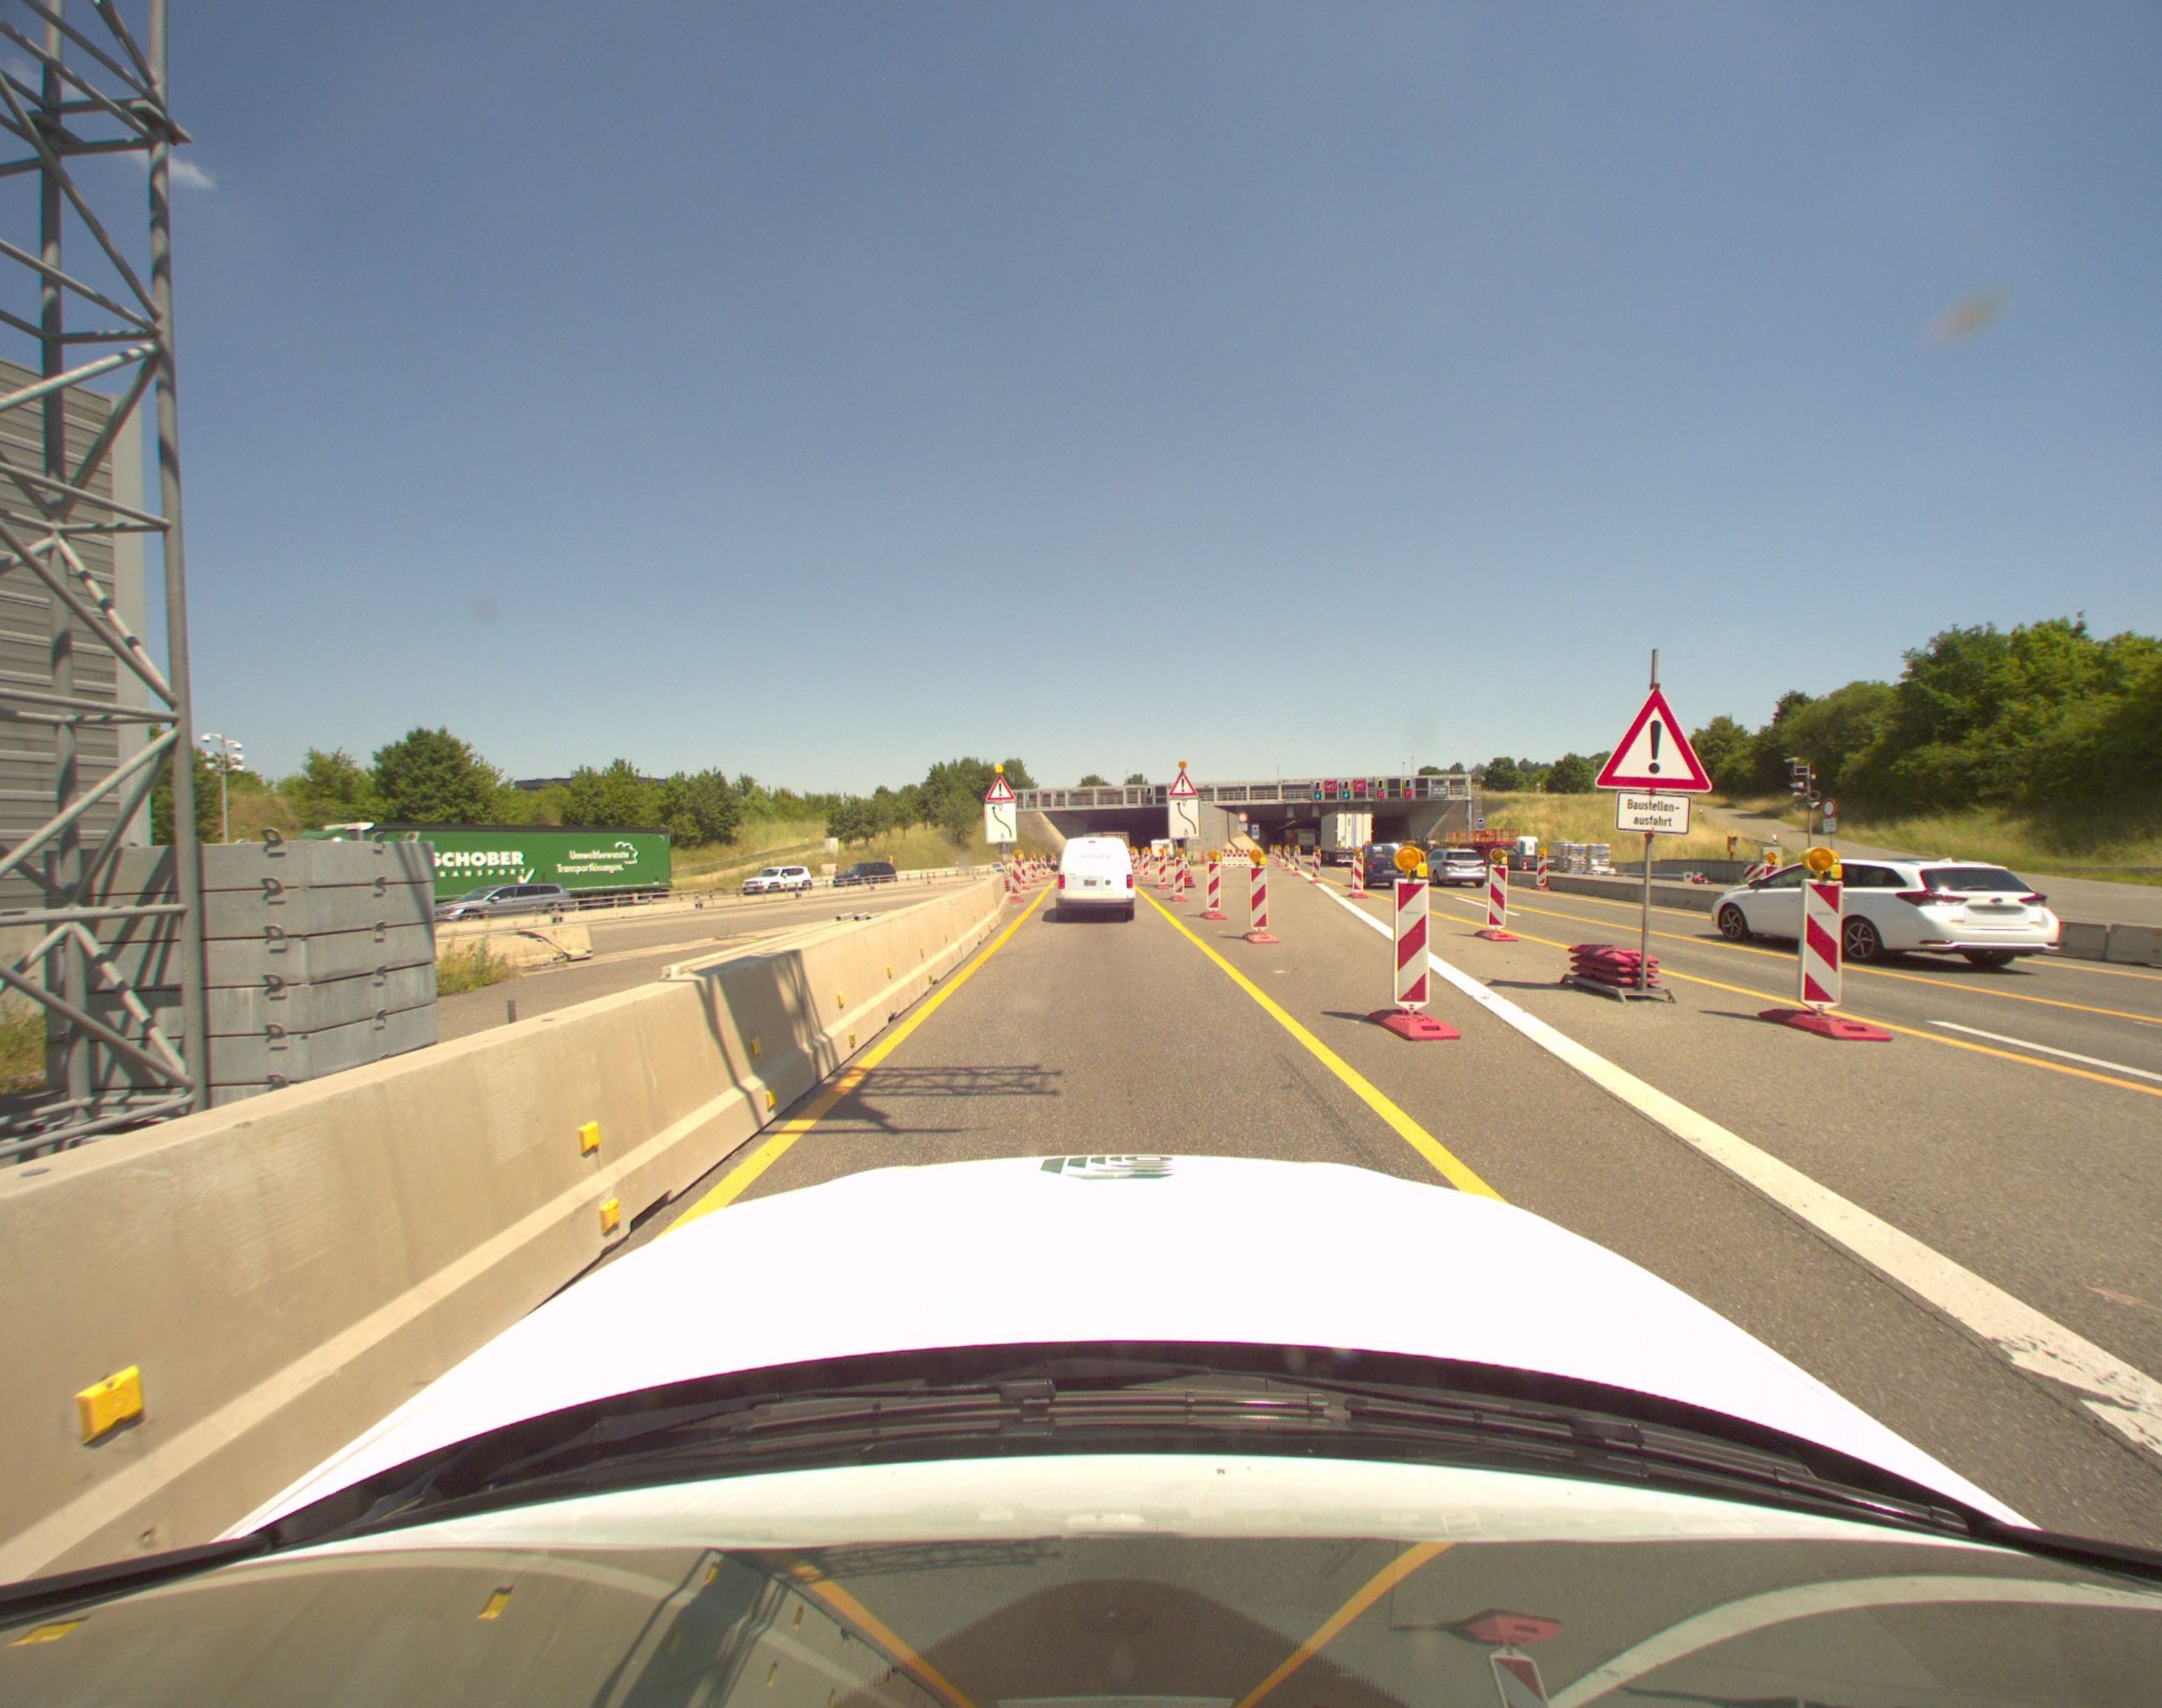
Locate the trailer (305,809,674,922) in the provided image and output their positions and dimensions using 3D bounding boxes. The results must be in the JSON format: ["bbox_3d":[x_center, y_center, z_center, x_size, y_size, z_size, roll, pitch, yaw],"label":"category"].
[{"bbox_3d":[-26.143,0.424,37.772,3.514,4.270,13.985,0,0,23],"label":"trailer"}]

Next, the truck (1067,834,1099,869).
[{"bbox_3d":[0.296,-0.323,101.029,2.411,4.270,4.862,-2,0,19],"label":"truck"}]

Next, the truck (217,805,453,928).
[{"bbox_3d":[-28.742,0.441,31.707,3.515,4.270,5.811,0,0,23],"label":"truck"}]

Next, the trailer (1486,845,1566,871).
[{"bbox_3d":[30.114,0.242,55.411,2.581,1.569,6.247,-2,0,7],"label":"trailer"}]

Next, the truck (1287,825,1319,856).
[{"bbox_3d":[34.823,-2.011,128.244,3.380,4.335,16.583,1,-1,10],"label":"truck"}]

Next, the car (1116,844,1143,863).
[{"bbox_3d":[4.767,-0.066,79.644,1.795,1.751,4.427,-2,0,14],"label":"car"}]

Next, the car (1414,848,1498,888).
[{"bbox_3d":[14.828,0.520,32.477,1.805,1.464,4.663,0,0,8],"label":"car"}]

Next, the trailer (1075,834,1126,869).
[{"bbox_3d":[2.777,-0.390,108.207,2.415,4.296,13.877,-2,0,19],"label":"trailer"}]

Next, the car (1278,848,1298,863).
[{"bbox_3d":[23.958,0.169,94.339,1.805,1.630,4.199,0,0,7],"label":"car"}]

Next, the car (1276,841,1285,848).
[{"bbox_3d":[57.881,-2.833,236.697,2.317,1.838,4.557,0,0,10],"label":"car"}]

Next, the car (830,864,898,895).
[{"bbox_3d":[-12.535,1.461,47.304,1.701,1.623,4.191,-1,0,20],"label":"car"}]

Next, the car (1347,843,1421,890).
[{"bbox_3d":[11.391,0.435,30.893,1.804,1.642,4.665,0,0,10],"label":"car"}]

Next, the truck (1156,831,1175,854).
[{"bbox_3d":[15.856,-2.098,152.797,2.315,4.108,5.042,-2,0,19],"label":"truck"}]

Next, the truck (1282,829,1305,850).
[{"bbox_3d":[43.408,-2.886,166.964,3.380,4.071,16.584,0,0,10],"label":"truck"}]

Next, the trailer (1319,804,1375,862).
[{"bbox_3d":[20.805,-1.492,64.370,2.714,4.062,14.141,0,0,12],"label":"trailer"}]

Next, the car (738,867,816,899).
[{"bbox_3d":[-16.787,1.580,45.153,1.701,1.623,4.191,-1,0,20],"label":"car"}]

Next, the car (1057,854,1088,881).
[{"bbox_3d":[-0.585,0.815,50.615,1.804,1.537,4.406,-2,0,-2],"label":"car"}]

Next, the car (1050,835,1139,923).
[{"bbox_3d":[0.327,0.523,18.849,1.802,1.794,3.732,-2,0,1],"label":"car"}]

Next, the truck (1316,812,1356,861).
[{"bbox_3d":[22.261,-1.464,71.247,2.727,4.033,5.945,0,0,12],"label":"truck"}]

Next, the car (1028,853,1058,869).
[{"bbox_3d":[-3.826,0.691,82.467,1.702,1.491,3.706,-2,0,19],"label":"car"}]

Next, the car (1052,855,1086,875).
[{"bbox_3d":[-1.096,1.035,77.915,1.683,1.730,4.473,-1,0,20],"label":"car"}]

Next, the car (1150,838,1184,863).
[{"bbox_3d":[10.542,-0.379,98.853,2.792,2.773,7.131,-3,-1,16],"label":"car"}]

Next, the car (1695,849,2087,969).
[{"bbox_3d":[11.916,0.736,12.570,1.805,1.465,4.660,1,-1,7],"label":"car"}]

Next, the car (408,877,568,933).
[{"bbox_3d":[-20.168,1.682,27.930,1.701,1.623,4.191,-1,0,20],"label":"car"}]

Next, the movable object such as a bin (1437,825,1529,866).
[{"bbox_3d":[34.013,-0.670,69.797,3.092,3.011,14.744,-2,0,10],"label":"movable object such as a bin"}]
